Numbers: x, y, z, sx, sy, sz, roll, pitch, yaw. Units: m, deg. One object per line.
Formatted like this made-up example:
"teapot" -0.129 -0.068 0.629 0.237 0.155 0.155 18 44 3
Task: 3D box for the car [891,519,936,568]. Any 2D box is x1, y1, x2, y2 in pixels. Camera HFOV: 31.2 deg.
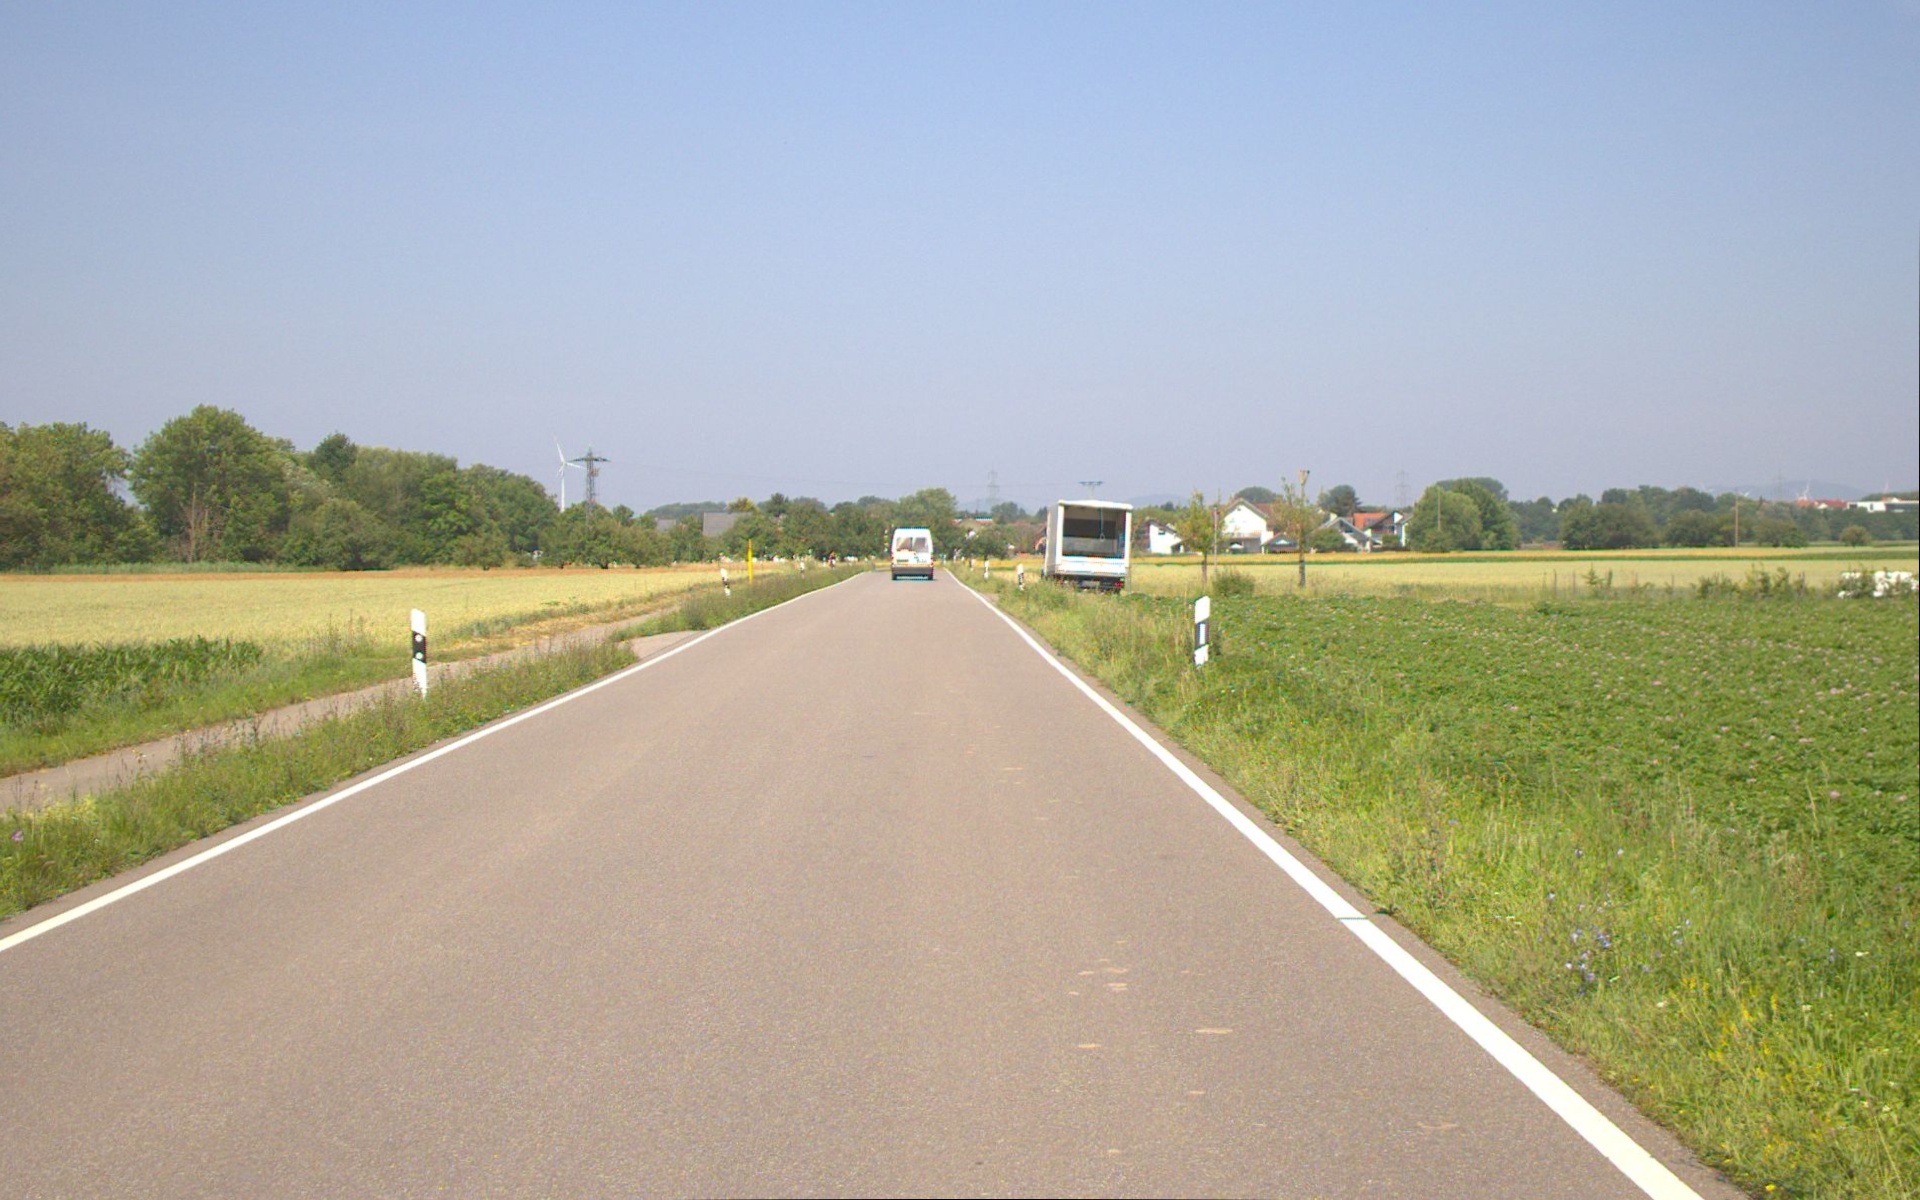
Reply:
"car" -2.242 -2.747 166.728 2.107 2.296 5.496 1 1 -1

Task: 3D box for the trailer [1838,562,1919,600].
"trailer" 30.750 -0.607 112.959 3.587 1.185 1.663 2 1 12

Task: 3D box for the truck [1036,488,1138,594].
"truck" 3.715 -1.746 102.179 2.335 2.932 7.009 3 1 -3
